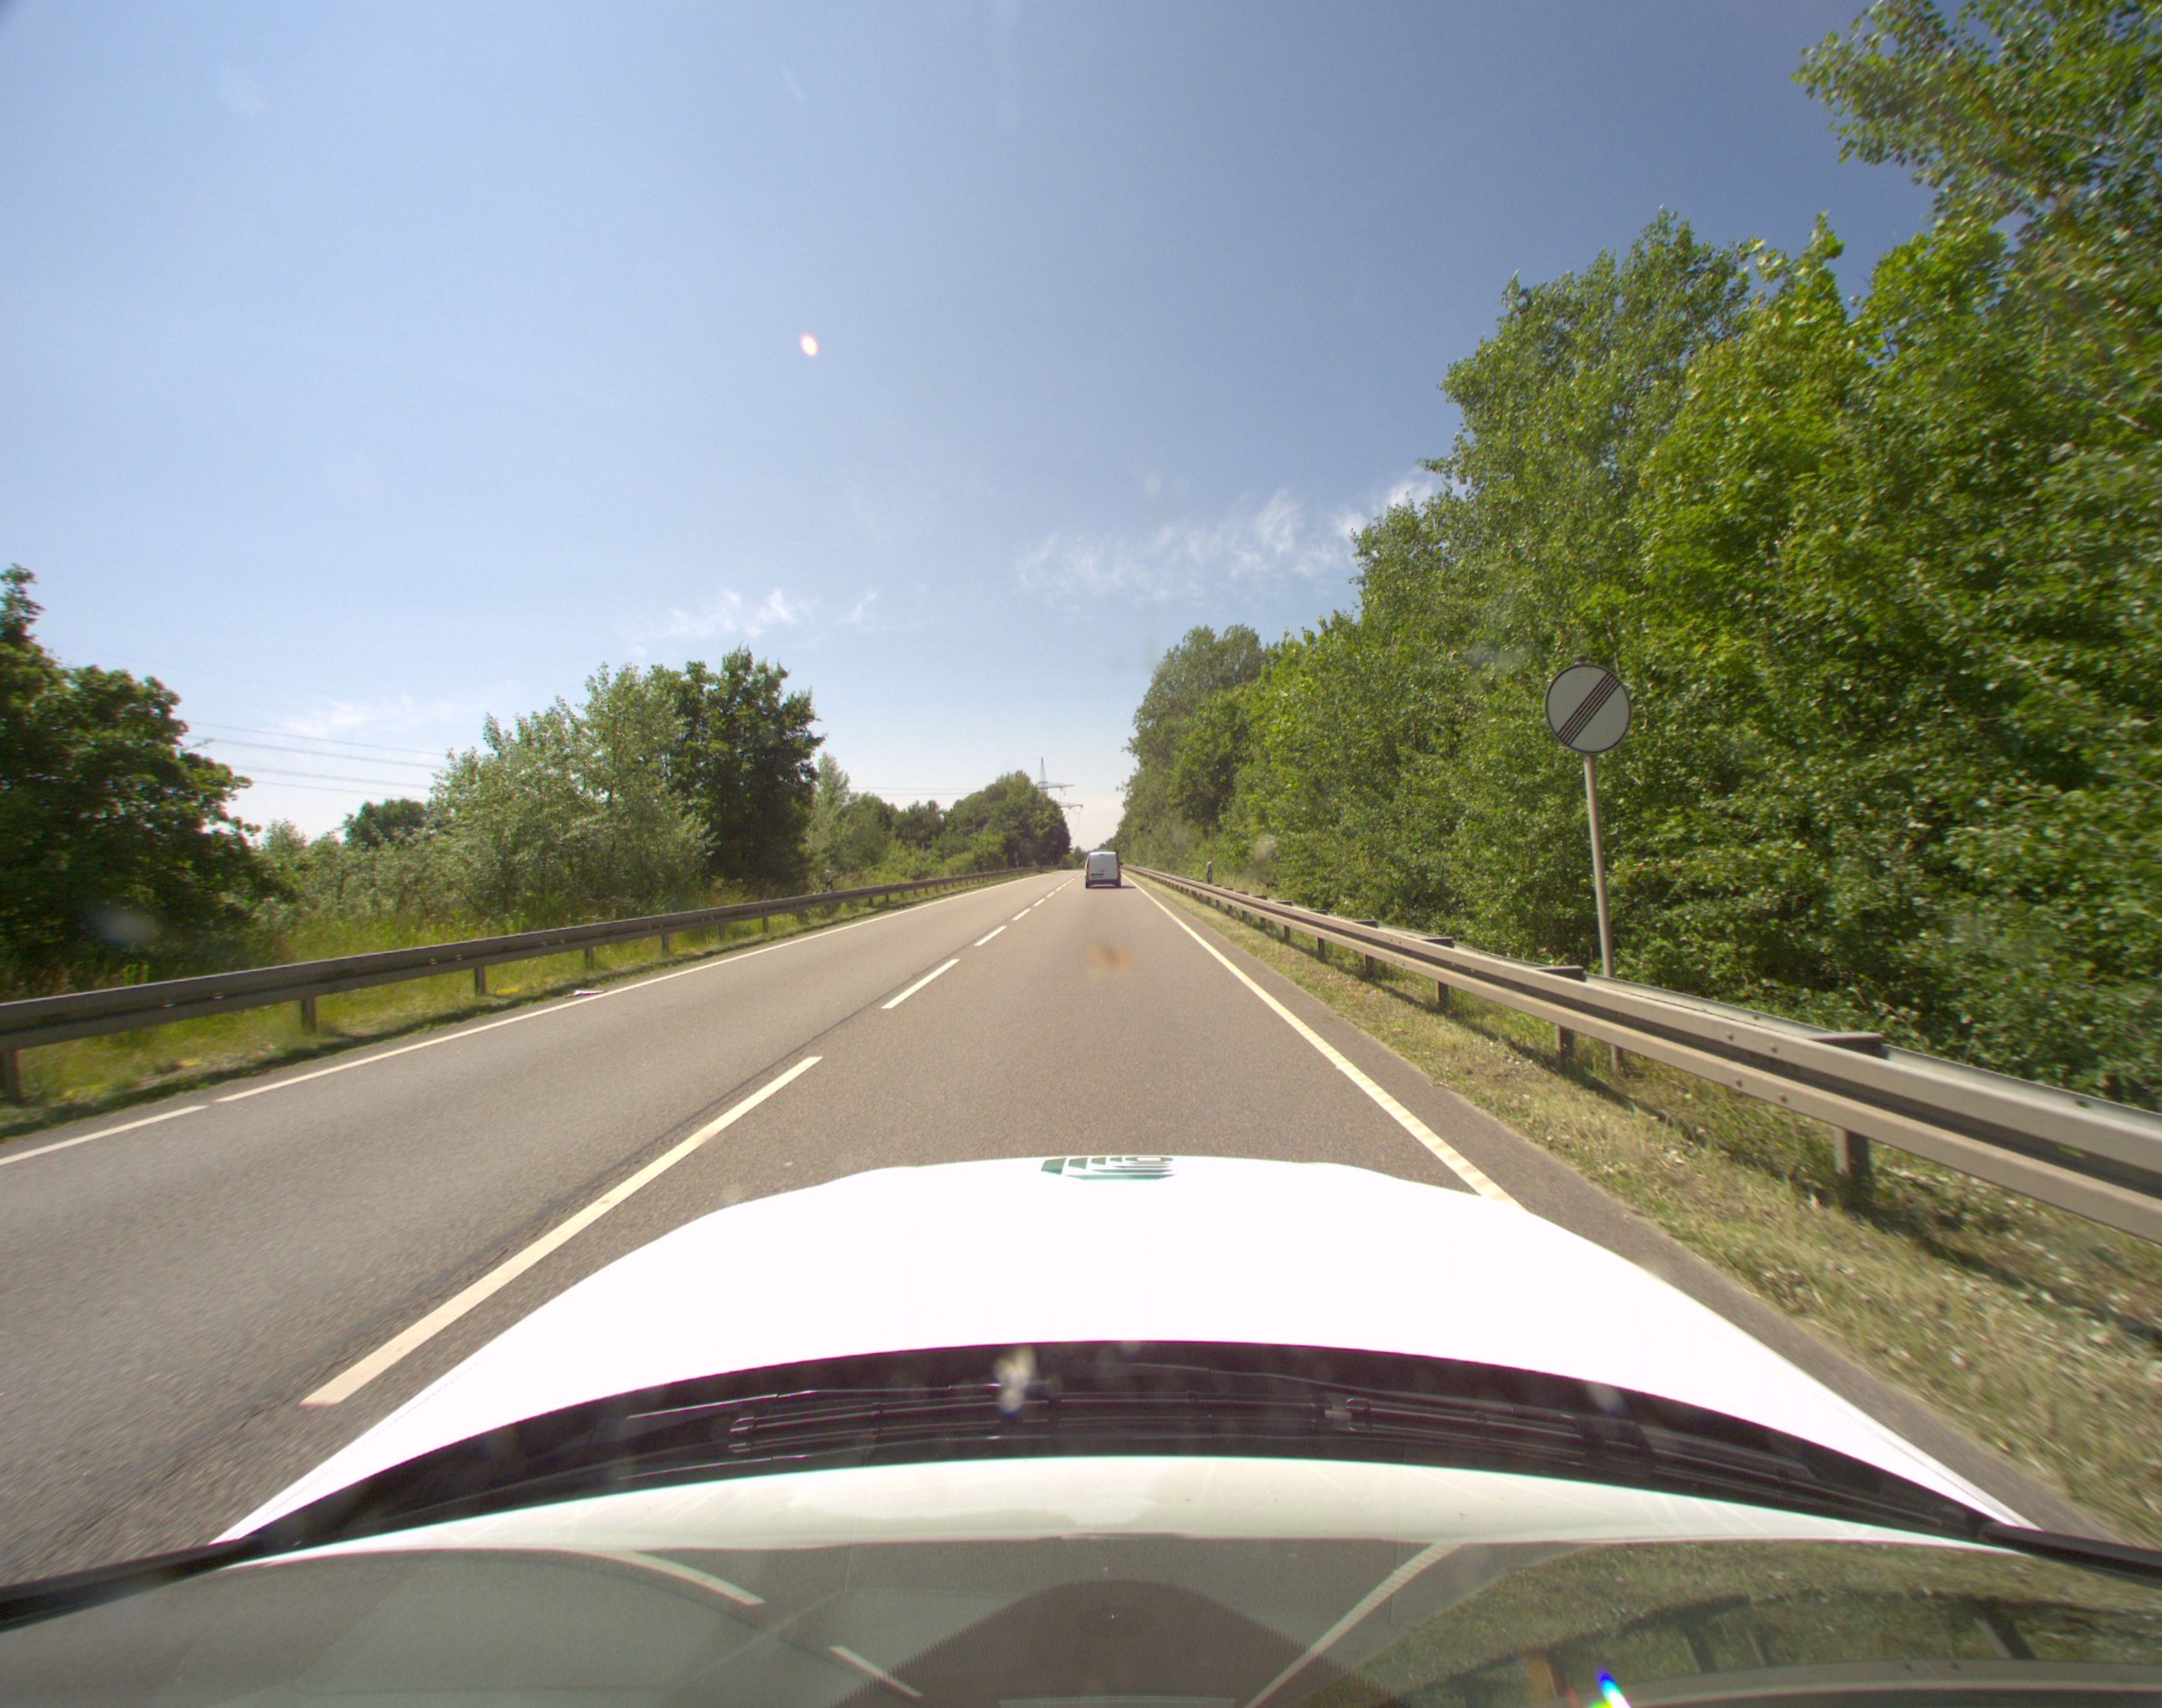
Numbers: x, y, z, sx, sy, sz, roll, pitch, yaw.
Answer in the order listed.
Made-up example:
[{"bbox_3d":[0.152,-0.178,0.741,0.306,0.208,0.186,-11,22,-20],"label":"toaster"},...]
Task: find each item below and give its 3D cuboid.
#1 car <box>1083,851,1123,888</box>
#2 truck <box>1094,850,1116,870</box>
[{"bbox_3d":[1.093,0.749,41.133,1.868,1.741,4.001,-1,0,1],"label":"car"},{"bbox_3d":[4.170,0.938,138.822,3.283,3.172,14.416,-1,0,3],"label":"truck"}]
